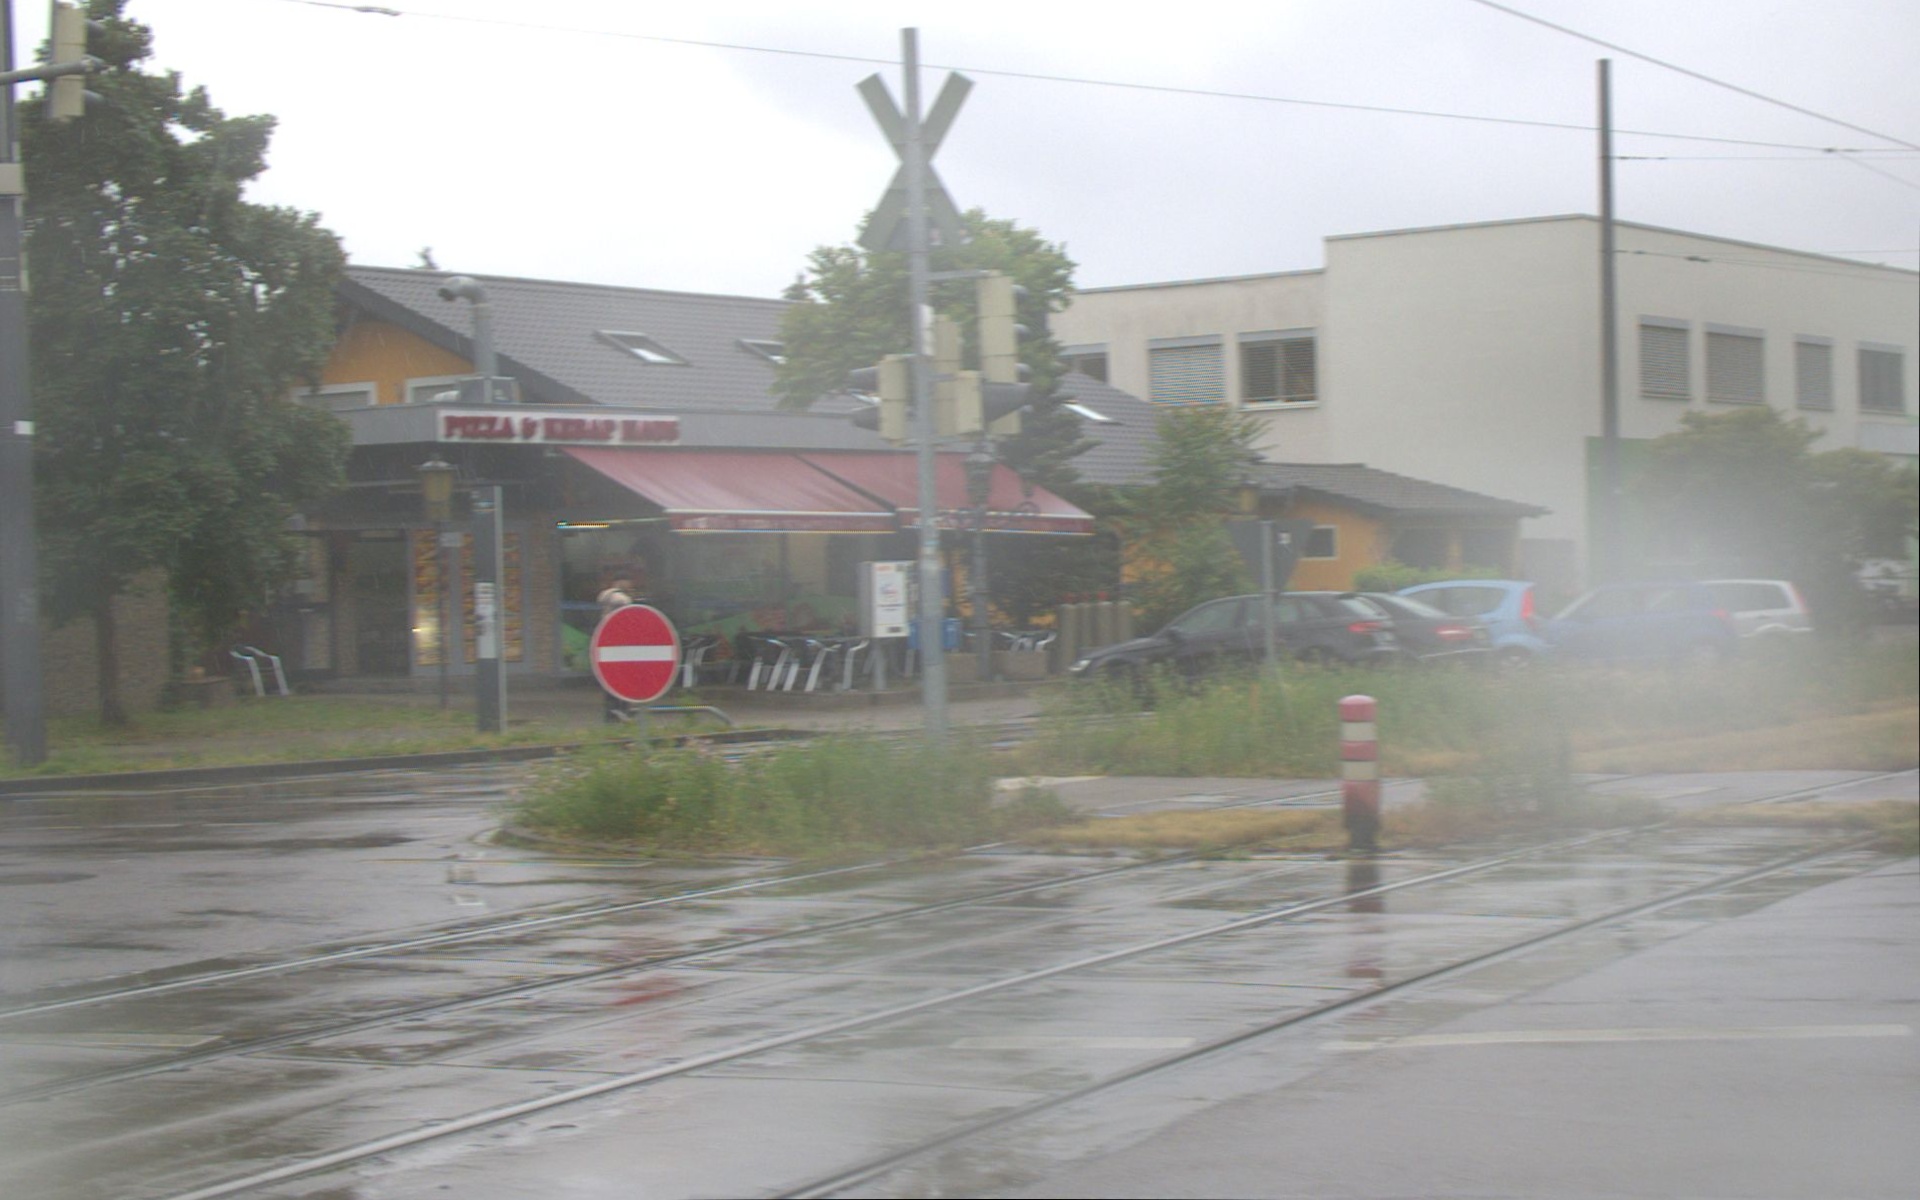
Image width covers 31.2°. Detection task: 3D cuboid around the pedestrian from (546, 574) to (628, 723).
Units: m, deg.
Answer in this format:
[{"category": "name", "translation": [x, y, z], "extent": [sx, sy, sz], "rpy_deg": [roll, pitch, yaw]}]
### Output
[{"category": "pedestrian", "translation": [-4.584, 0.585, 42.276], "extent": [0.725, 1.791, 0.886], "rpy_deg": [1, 1, 16]}]

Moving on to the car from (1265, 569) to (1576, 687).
[{"category": "car", "translation": [6.533, 0.399, 48.808], "extent": [3.992, 1.576, 1.856], "rpy_deg": [-1, 0, 24]}]

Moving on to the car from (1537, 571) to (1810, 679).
[{"category": "car", "translation": [11.505, 0.392, 55.681], "extent": [4.109, 1.635, 1.929], "rpy_deg": [-1, 0, 5]}]

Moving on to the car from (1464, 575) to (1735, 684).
[{"category": "car", "translation": [9.804, 0.444, 52.964], "extent": [3.988, 1.576, 1.929], "rpy_deg": [-1, 0, 8]}]

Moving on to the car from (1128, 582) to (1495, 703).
[{"category": "car", "translation": [4.696, 0.568, 45.883], "extent": [4.501, 1.413, 1.857], "rpy_deg": [-3, 0, 21]}]

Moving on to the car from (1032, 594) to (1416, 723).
[{"category": "car", "translation": [3.372, 0.748, 43.800], "extent": [4.482, 1.413, 1.857], "rpy_deg": [-3, -1, 21]}]
